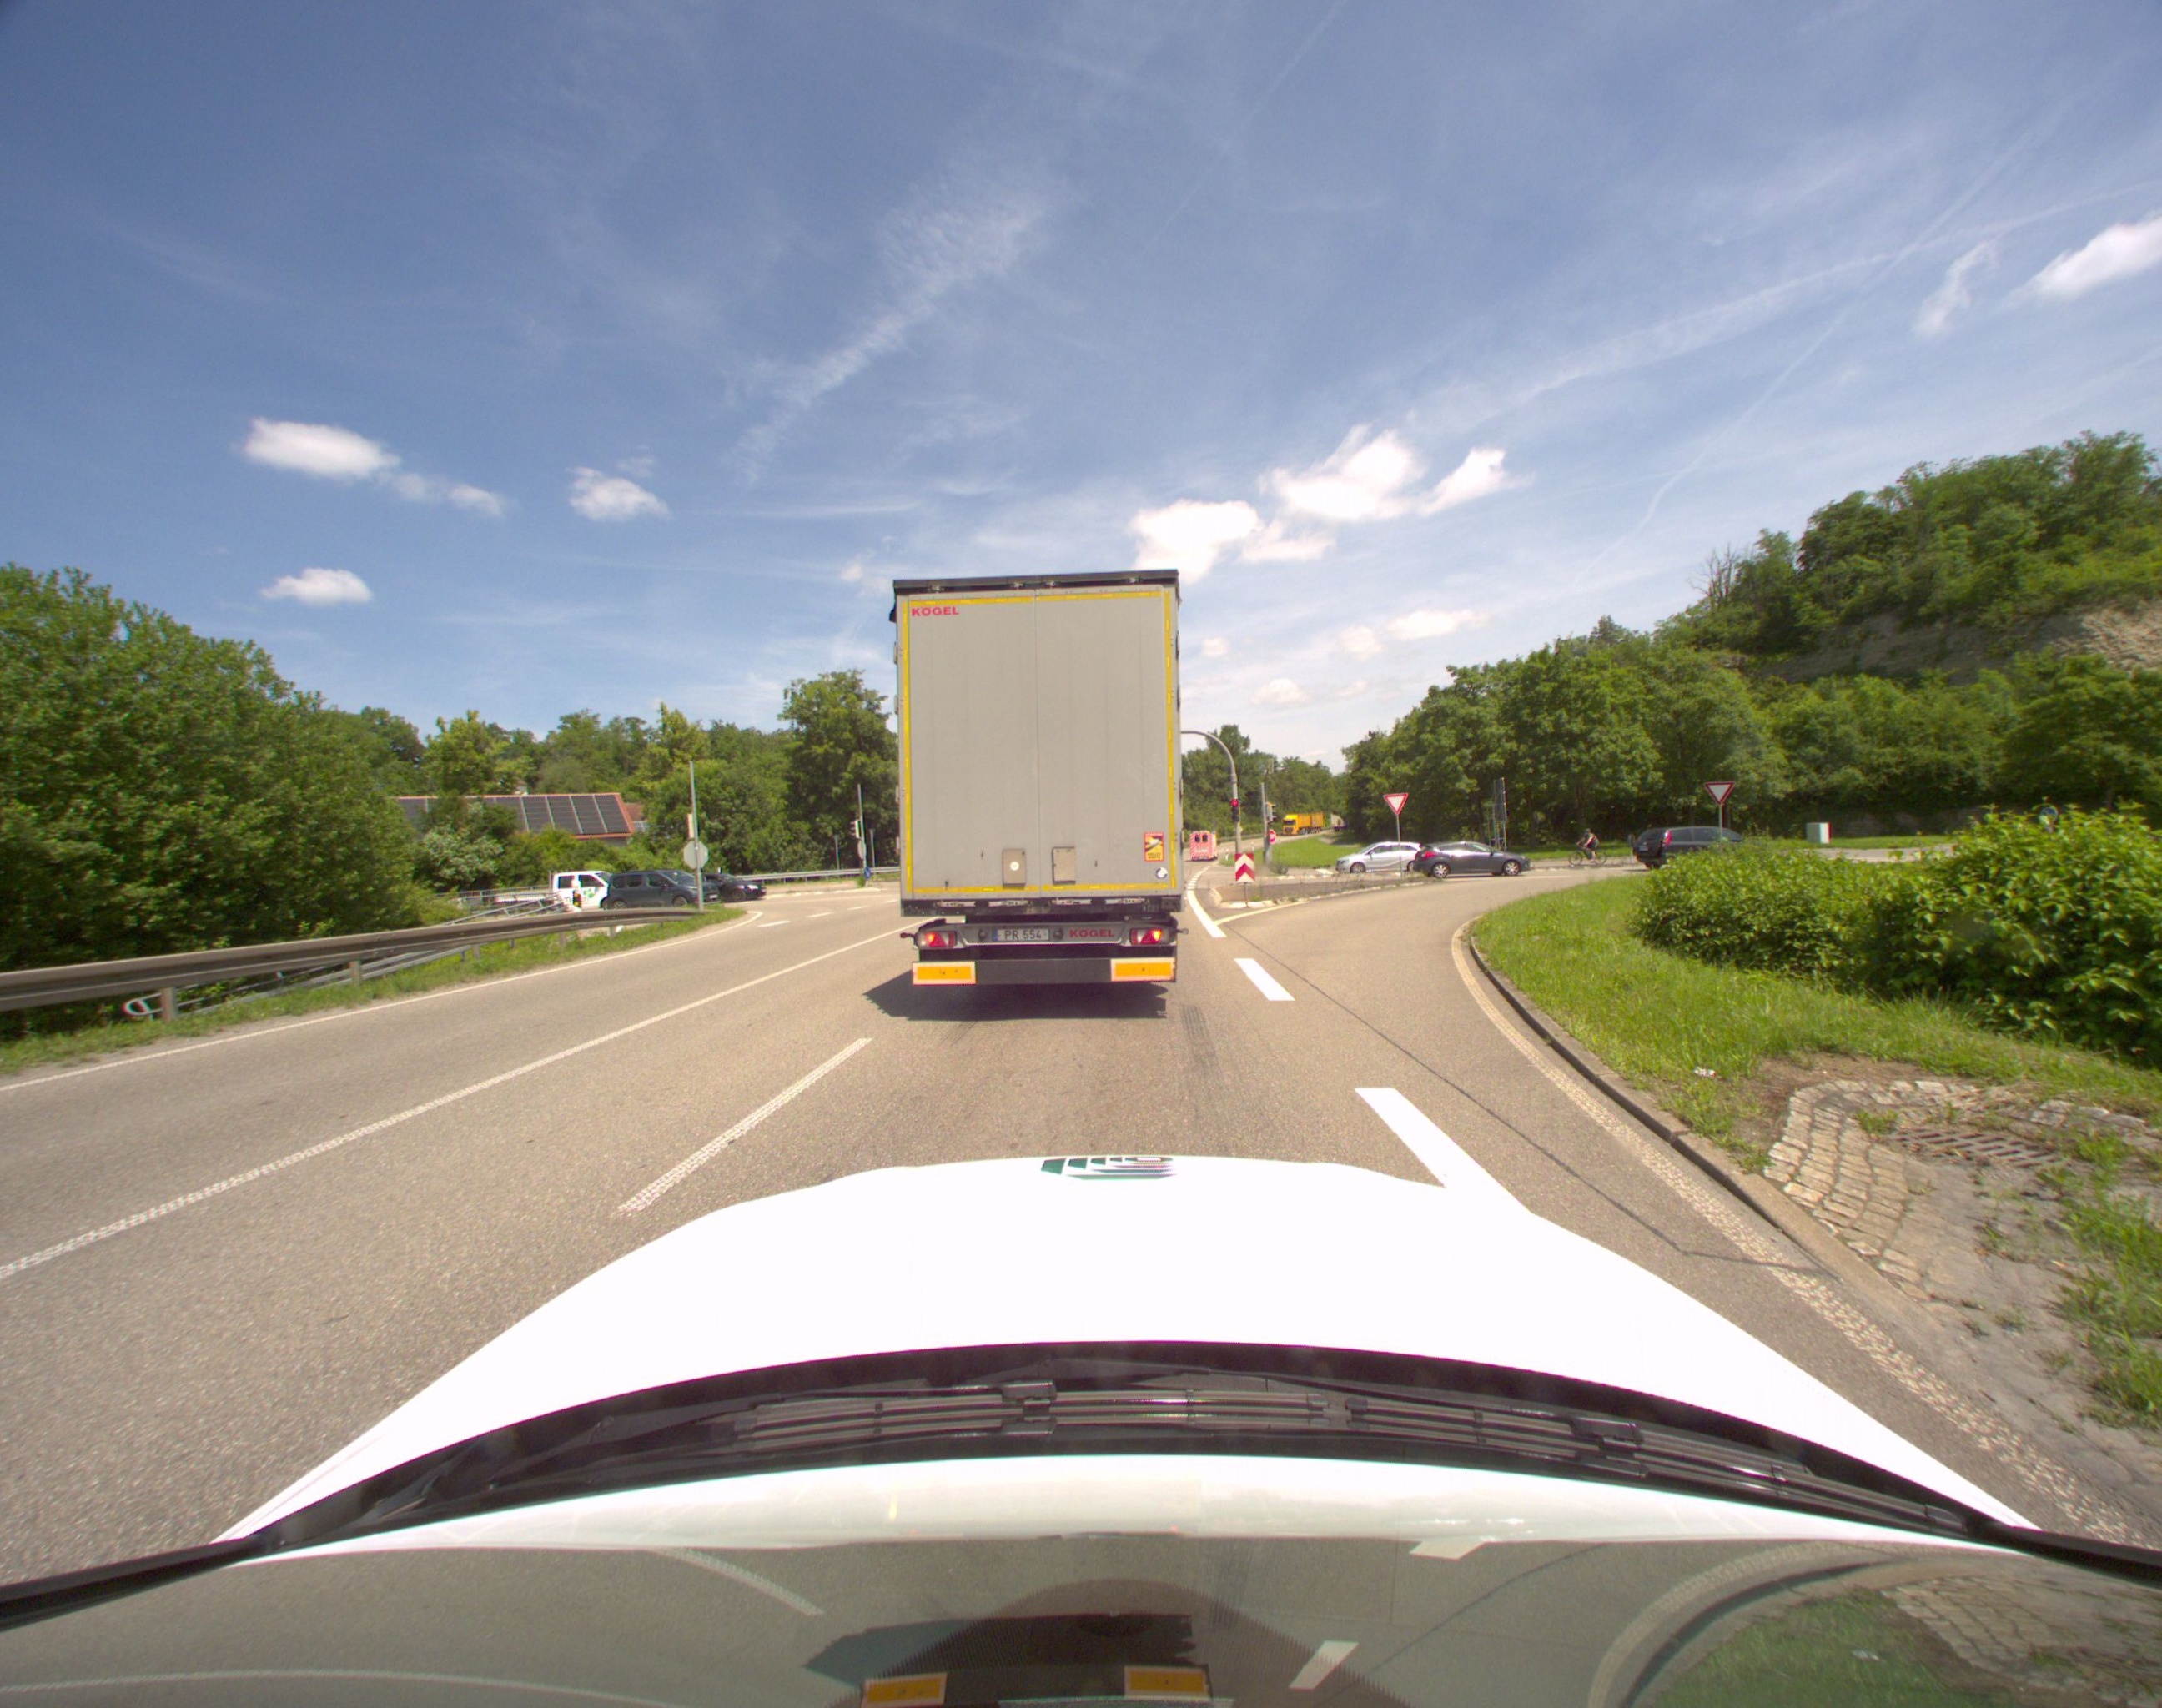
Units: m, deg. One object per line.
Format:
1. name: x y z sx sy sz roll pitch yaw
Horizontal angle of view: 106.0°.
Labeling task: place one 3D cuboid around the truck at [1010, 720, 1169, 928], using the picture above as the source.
1. truck: 0.384 -0.593 19.442 3.025 4.034 6.636 -2 0 4

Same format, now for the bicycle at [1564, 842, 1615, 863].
1. bicycle: 24.785 -0.076 39.685 1.983 0.995 0.797 -1 -2 -1

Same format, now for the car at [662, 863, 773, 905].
1. car: -16.673 1.353 37.418 4.206 1.770 2.006 -2 -1 11

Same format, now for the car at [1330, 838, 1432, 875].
1. car: 14.781 0.157 40.325 4.404 1.718 2.003 -1 -2 6

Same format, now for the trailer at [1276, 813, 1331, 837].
1. trailer: 45.731 -5.878 166.231 4.962 4.362 20.972 -1 1 32

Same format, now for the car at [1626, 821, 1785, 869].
1. car: 24.743 -0.331 32.359 4.917 1.785 1.997 -1 -2 -4

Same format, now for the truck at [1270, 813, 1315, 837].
1. truck: 41.565 -5.644 159.616 4.962 4.362 11.841 -1 1 32

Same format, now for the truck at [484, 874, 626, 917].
1. truck: -23.440 1.830 36.470 4.877 1.791 2.036 0 -2 -11

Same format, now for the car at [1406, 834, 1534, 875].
1. car: 15.445 0.056 32.532 4.218 1.491 2.005 -1 -2 10

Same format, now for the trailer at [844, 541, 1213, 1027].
1. trailer: -0.039 -0.591 13.192 3.038 4.034 12.572 -2 0 4

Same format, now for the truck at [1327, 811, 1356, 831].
1. truck: 54.719 -6.890 170.745 3.148 4.028 11.820 -2 1 31

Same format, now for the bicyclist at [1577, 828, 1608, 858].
1. bicyclist: 24.939 -0.532 39.713 1.002 1.448 0.795 -1 -2 -1

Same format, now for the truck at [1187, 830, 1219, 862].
1. truck: 11.292 -0.677 75.184 2.477 2.728 6.049 -1 -2 12

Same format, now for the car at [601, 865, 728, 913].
1. car: -16.977 1.415 33.289 4.206 1.770 2.006 -2 -1 11
